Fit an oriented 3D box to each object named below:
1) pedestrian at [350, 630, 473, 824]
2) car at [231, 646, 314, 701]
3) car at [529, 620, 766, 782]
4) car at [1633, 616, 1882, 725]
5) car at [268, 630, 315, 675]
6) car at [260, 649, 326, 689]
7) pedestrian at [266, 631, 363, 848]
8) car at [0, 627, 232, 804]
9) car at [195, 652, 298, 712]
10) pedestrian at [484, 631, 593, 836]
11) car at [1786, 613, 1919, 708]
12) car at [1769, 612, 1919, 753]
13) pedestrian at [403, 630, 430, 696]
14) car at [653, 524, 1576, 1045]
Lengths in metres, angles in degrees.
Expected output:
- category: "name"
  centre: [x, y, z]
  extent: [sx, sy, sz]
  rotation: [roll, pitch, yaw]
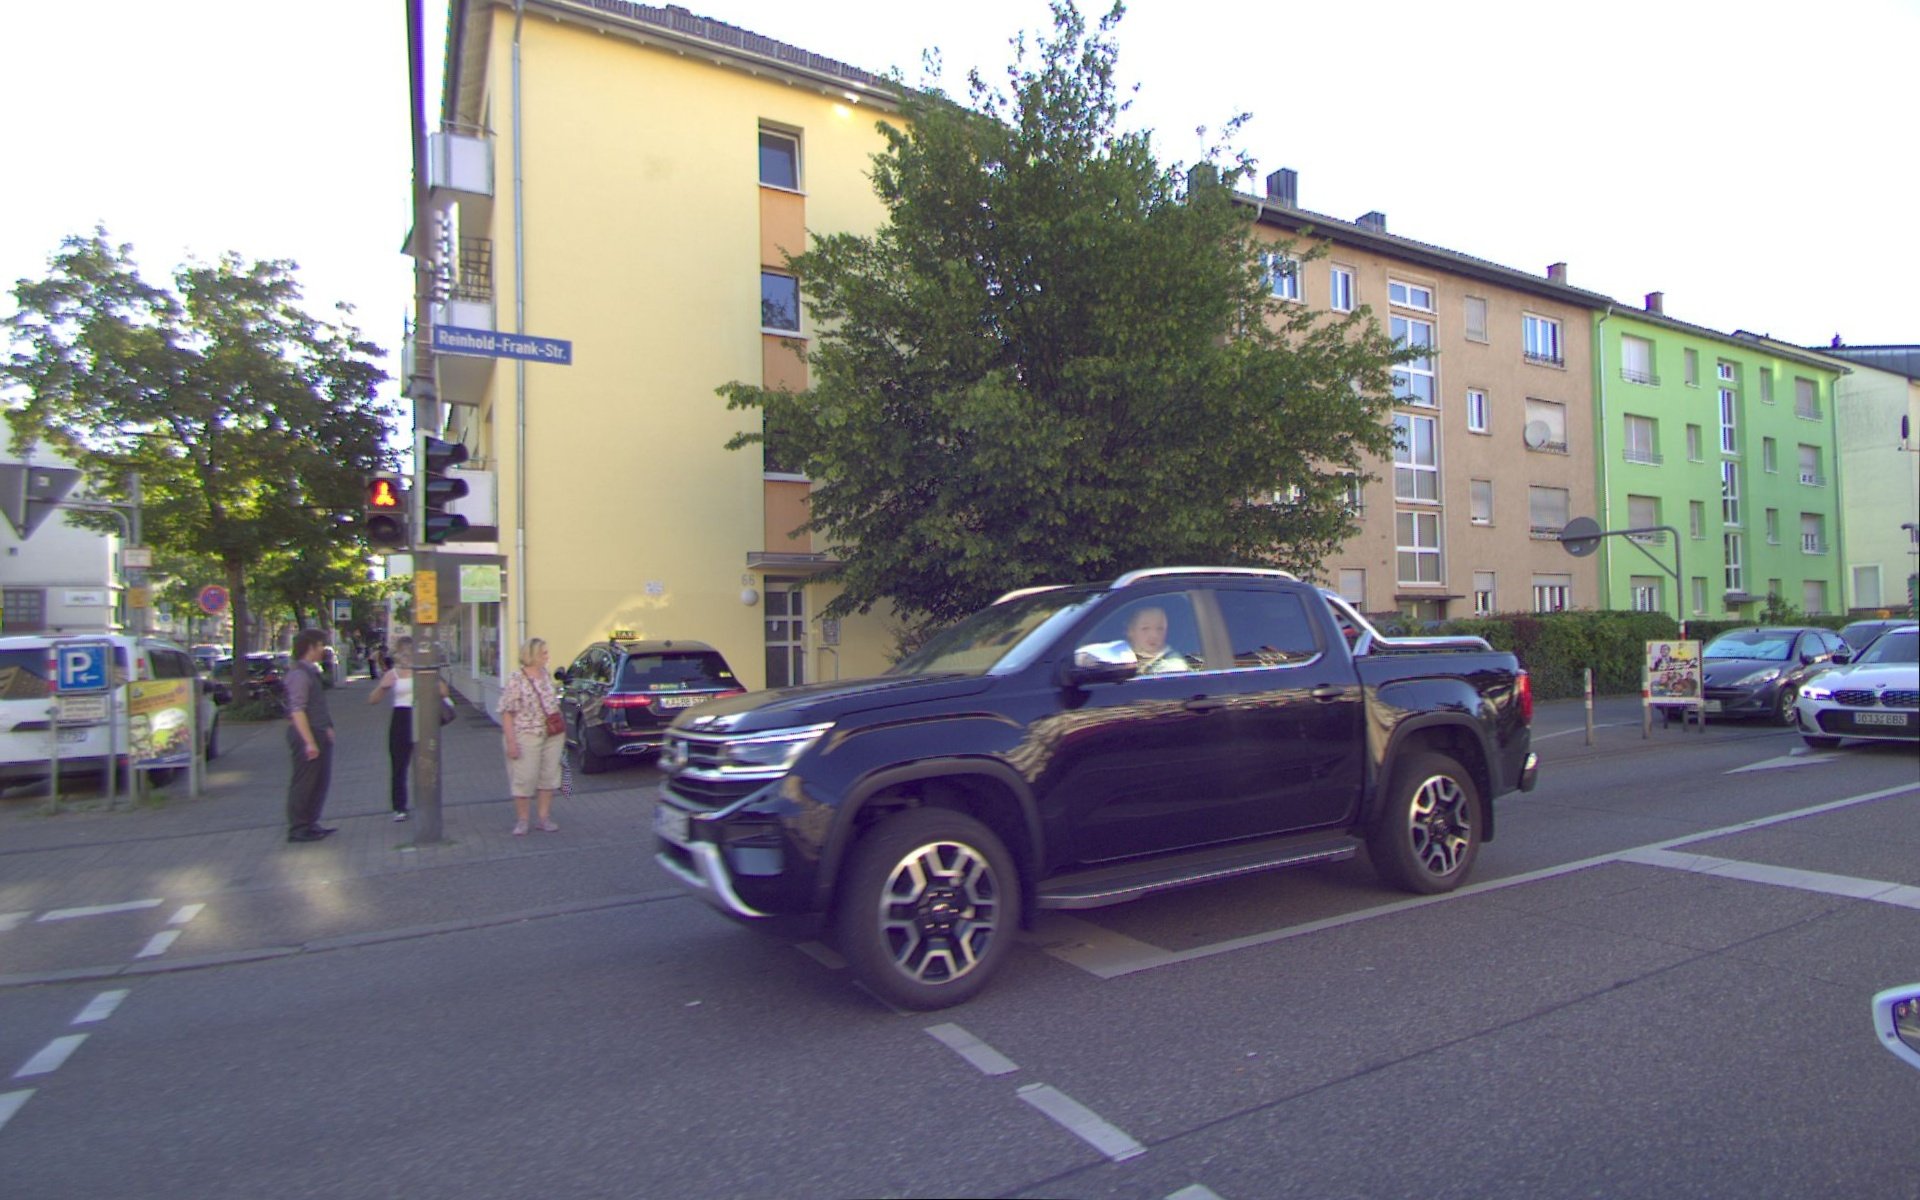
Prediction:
- category: "pedestrian"
  centre: [-4.959, 1.121, 9.113]
  extent: [0.735, 1.651, 0.609]
  rotation: [2, 1, 7]
- category: "car"
  centre: [-22.203, 2.319, 32.584]
  extent: [1.821, 1.635, 4.376]
  rotation: [0, -2, -29]
- category: "car"
  centre: [-4.158, 1.092, 12.808]
  extent: [1.823, 1.635, 4.566]
  rotation: [0, -1, -32]
- category: "car"
  centre: [12.514, 1.036, 15.728]
  extent: [3.894, 1.499, 1.647]
  rotation: [0, -2, -29]
- category: "car"
  centre: [-37.751, 2.937, 56.811]
  extent: [1.841, 2.390, 3.971]
  rotation: [0, -2, -28]
- category: "car"
  centre: [-26.772, 2.731, 40.401]
  extent: [1.841, 1.483, 3.971]
  rotation: [0, -2, -28]
- category: "pedestrian"
  centre: [-5.337, 1.105, 8.298]
  extent: [0.603, 1.679, 0.742]
  rotation: [0, -2, -38]
- category: "car"
  centre: [-10.838, 1.328, 12.914]
  extent: [1.885, 1.872, 4.453]
  rotation: [0, -2, -29]
- category: "car"
  centre: [-19.628, 2.203, 27.793]
  extent: [1.841, 1.483, 3.971]
  rotation: [0, -2, -28]
- category: "pedestrian"
  centre: [-3.542, 1.075, 8.432]
  extent: [0.742, 1.615, 0.603]
  rotation: [1, -1, -33]
- category: "car"
  centre: [16.784, 1.033, 18.259]
  extent: [3.745, 1.572, 1.628]
  rotation: [0, -2, -33]
- category: "car"
  centre: [11.973, 0.902, 12.139]
  extent: [4.615, 1.492, 1.829]
  rotation: [0, -4, -30]
- category: "pedestrian"
  centre: [-14.748, 1.704, 27.263]
  extent: [0.640, 1.742, 0.573]
  rotation: [0, -2, -30]
- category: "car"
  centre: [1.094, 0.725, 5.730]
  extent: [5.166, 1.853, 1.854]
  rotation: [0, -4, -31]
